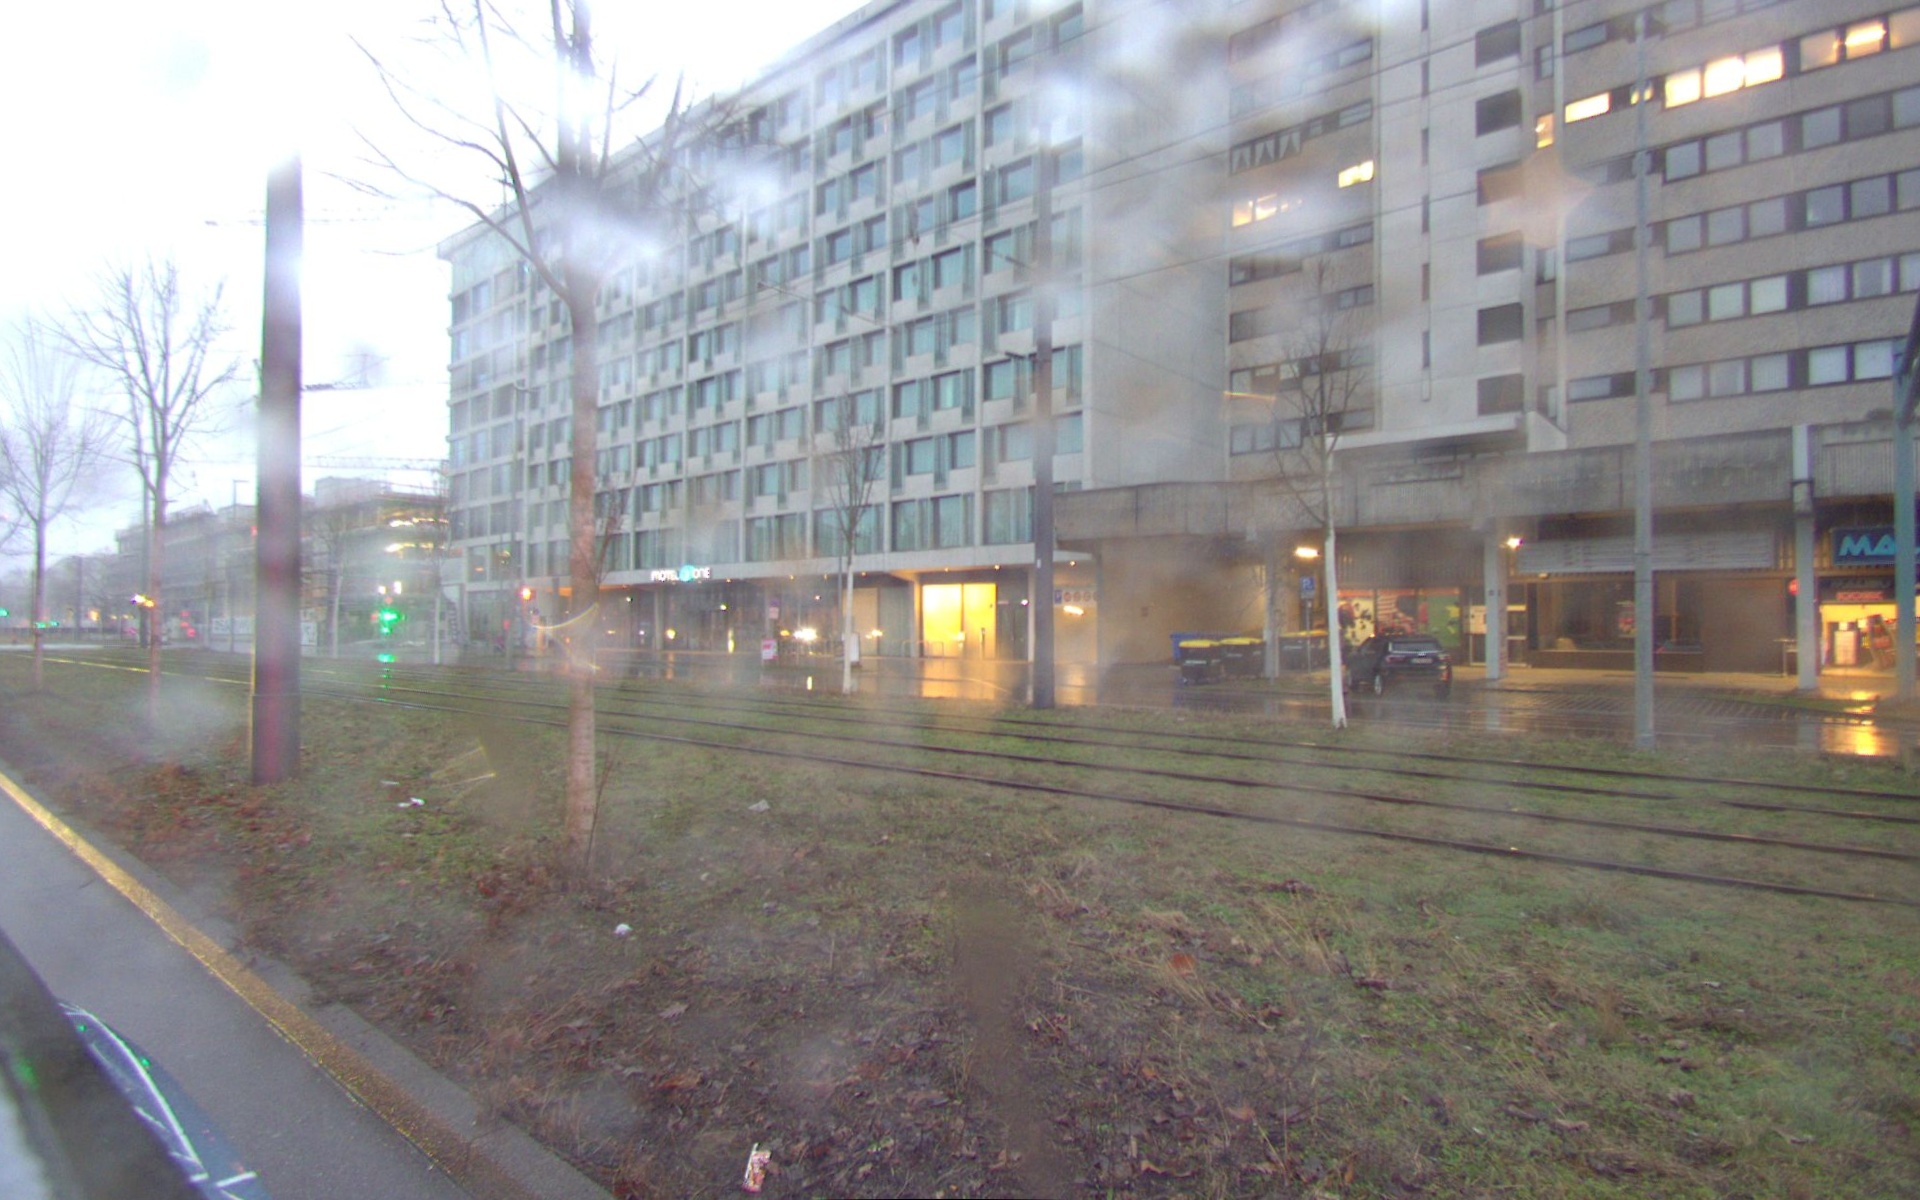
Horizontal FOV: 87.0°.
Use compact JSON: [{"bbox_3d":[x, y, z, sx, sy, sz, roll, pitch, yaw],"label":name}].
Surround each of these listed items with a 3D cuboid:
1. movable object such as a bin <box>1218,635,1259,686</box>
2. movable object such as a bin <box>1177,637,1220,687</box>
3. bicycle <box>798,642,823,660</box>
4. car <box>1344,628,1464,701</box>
[{"bbox_3d":[8.690,1.863,31.548,1.008,1.512,1.042,-1,0,30],"label":"movable object such as a bin"},{"bbox_3d":[7.335,1.890,31.095,1.027,1.437,1.063,-1,0,30],"label":"movable object such as a bin"},{"bbox_3d":[-7.837,2.684,53.184,0.465,0.860,1.332,-1,0,39],"label":"bicycle"},{"bbox_3d":[11.969,1.689,27.585,1.962,1.706,4.131,-1,0,9],"label":"car"}]
